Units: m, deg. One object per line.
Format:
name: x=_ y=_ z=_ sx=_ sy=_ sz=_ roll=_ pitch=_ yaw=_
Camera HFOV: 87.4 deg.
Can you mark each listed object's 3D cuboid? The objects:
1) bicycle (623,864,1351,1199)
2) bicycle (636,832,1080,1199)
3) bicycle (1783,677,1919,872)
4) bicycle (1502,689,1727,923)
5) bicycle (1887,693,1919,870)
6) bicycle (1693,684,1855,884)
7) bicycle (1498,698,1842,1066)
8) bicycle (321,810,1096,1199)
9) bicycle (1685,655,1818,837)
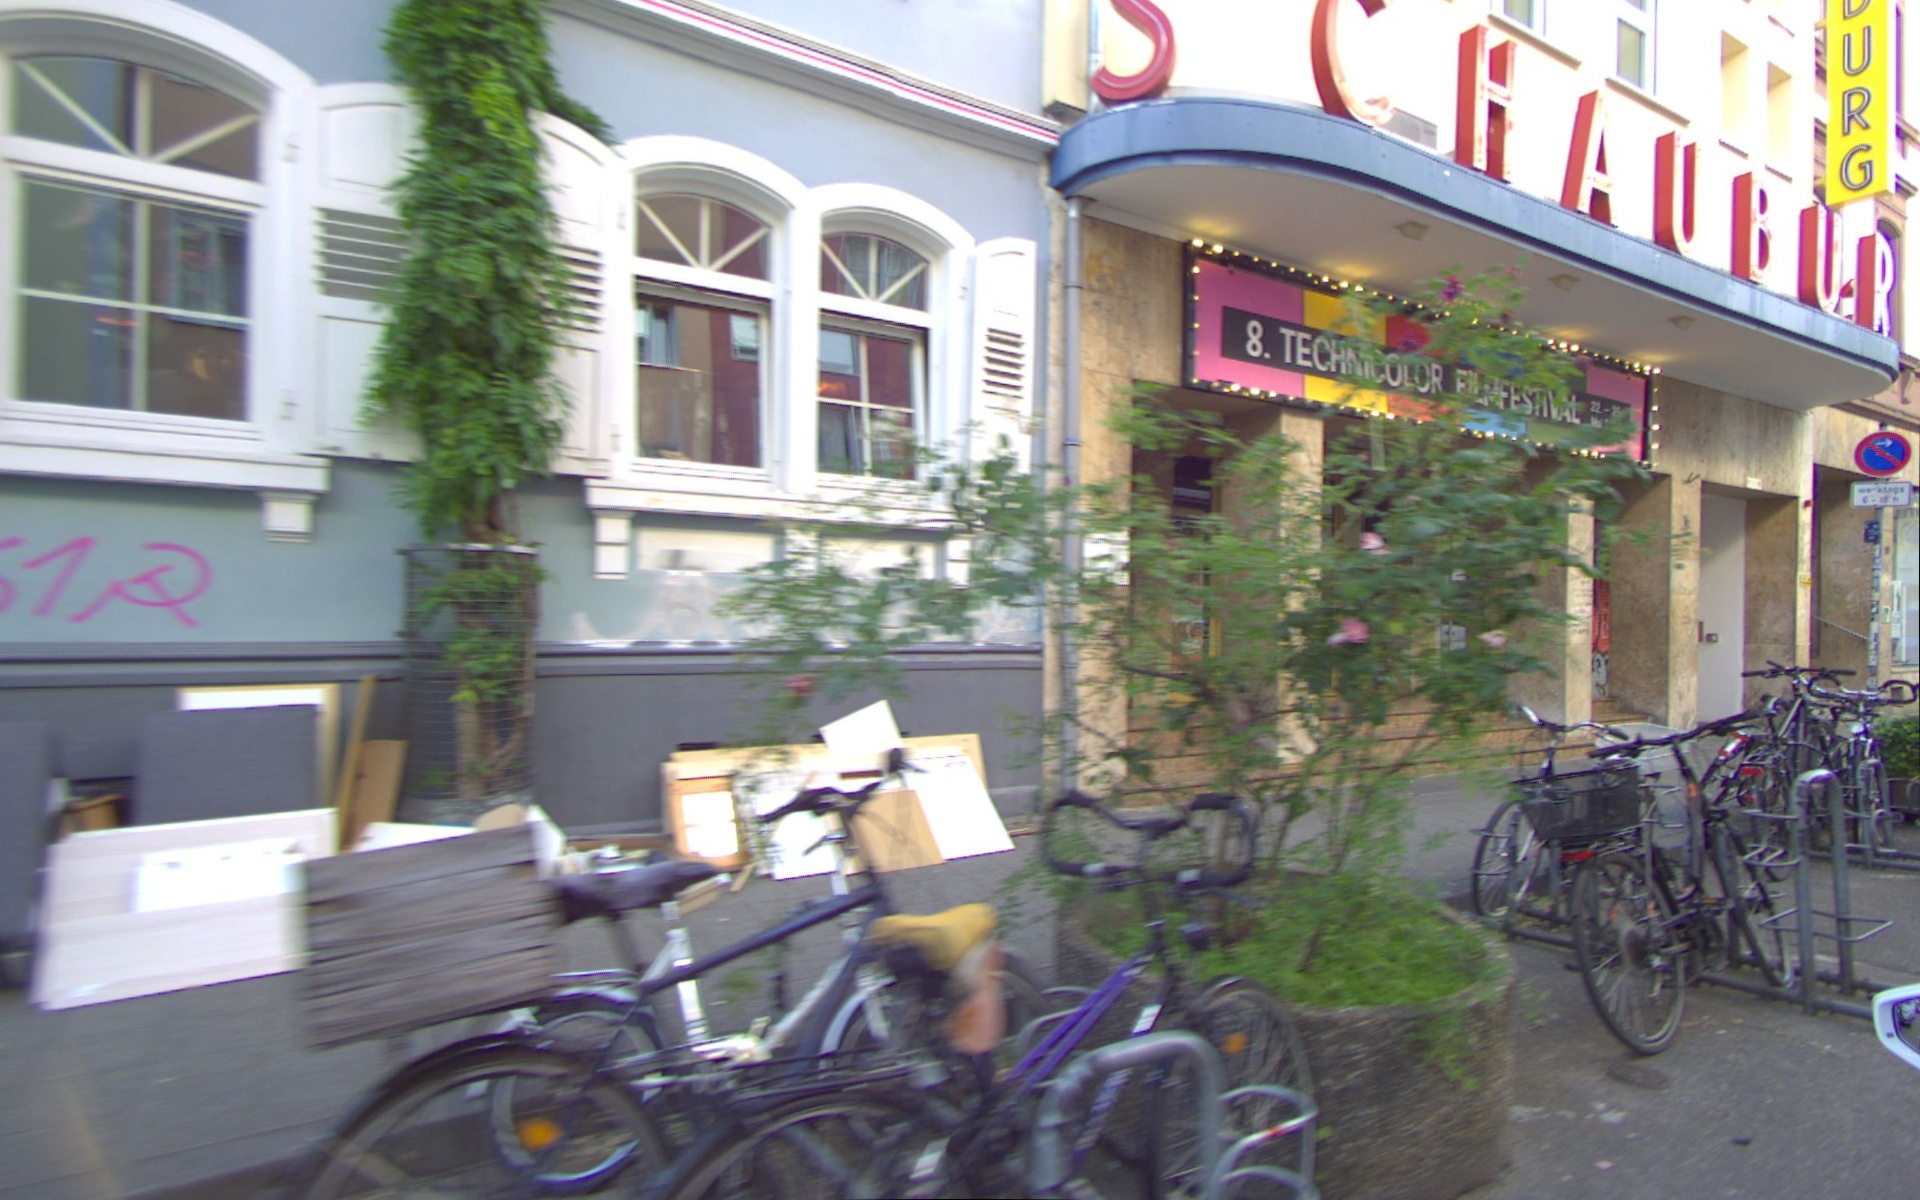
bicycle: x=0.117 y=1.085 z=1.884 sx=1.377 sy=0.929 sz=0.388 roll=1 pitch=-1 yaw=-31
bicycle: x=-0.247 y=1.177 z=2.906 sx=1.284 sy=0.828 sz=0.254 roll=1 pitch=0 yaw=-31
bicycle: x=6.416 y=1.182 z=7.168 sx=1.653 sy=1.189 sz=0.396 roll=1 pitch=1 yaw=-35
bicycle: x=3.656 y=1.070 z=5.581 sx=1.396 sy=1.059 sz=0.570 roll=1 pitch=0 yaw=-36
bicycle: x=6.734 y=1.157 z=6.678 sx=1.846 sy=1.061 sz=0.439 roll=1 pitch=1 yaw=-35
bicycle: x=5.079 y=1.091 z=6.248 sx=1.305 sy=1.061 sz=0.414 roll=1 pitch=1 yaw=-35
bicycle: x=2.966 y=1.019 z=4.123 sx=1.863 sy=1.109 sz=0.542 roll=1 pitch=1 yaw=-35
bicycle: x=-0.482 y=1.062 z=2.226 sx=1.553 sy=0.956 sz=0.551 roll=1 pitch=-1 yaw=-31
bicycle: x=5.823 y=1.022 z=7.367 sx=1.475 sy=1.189 sz=0.336 roll=1 pitch=1 yaw=-35
